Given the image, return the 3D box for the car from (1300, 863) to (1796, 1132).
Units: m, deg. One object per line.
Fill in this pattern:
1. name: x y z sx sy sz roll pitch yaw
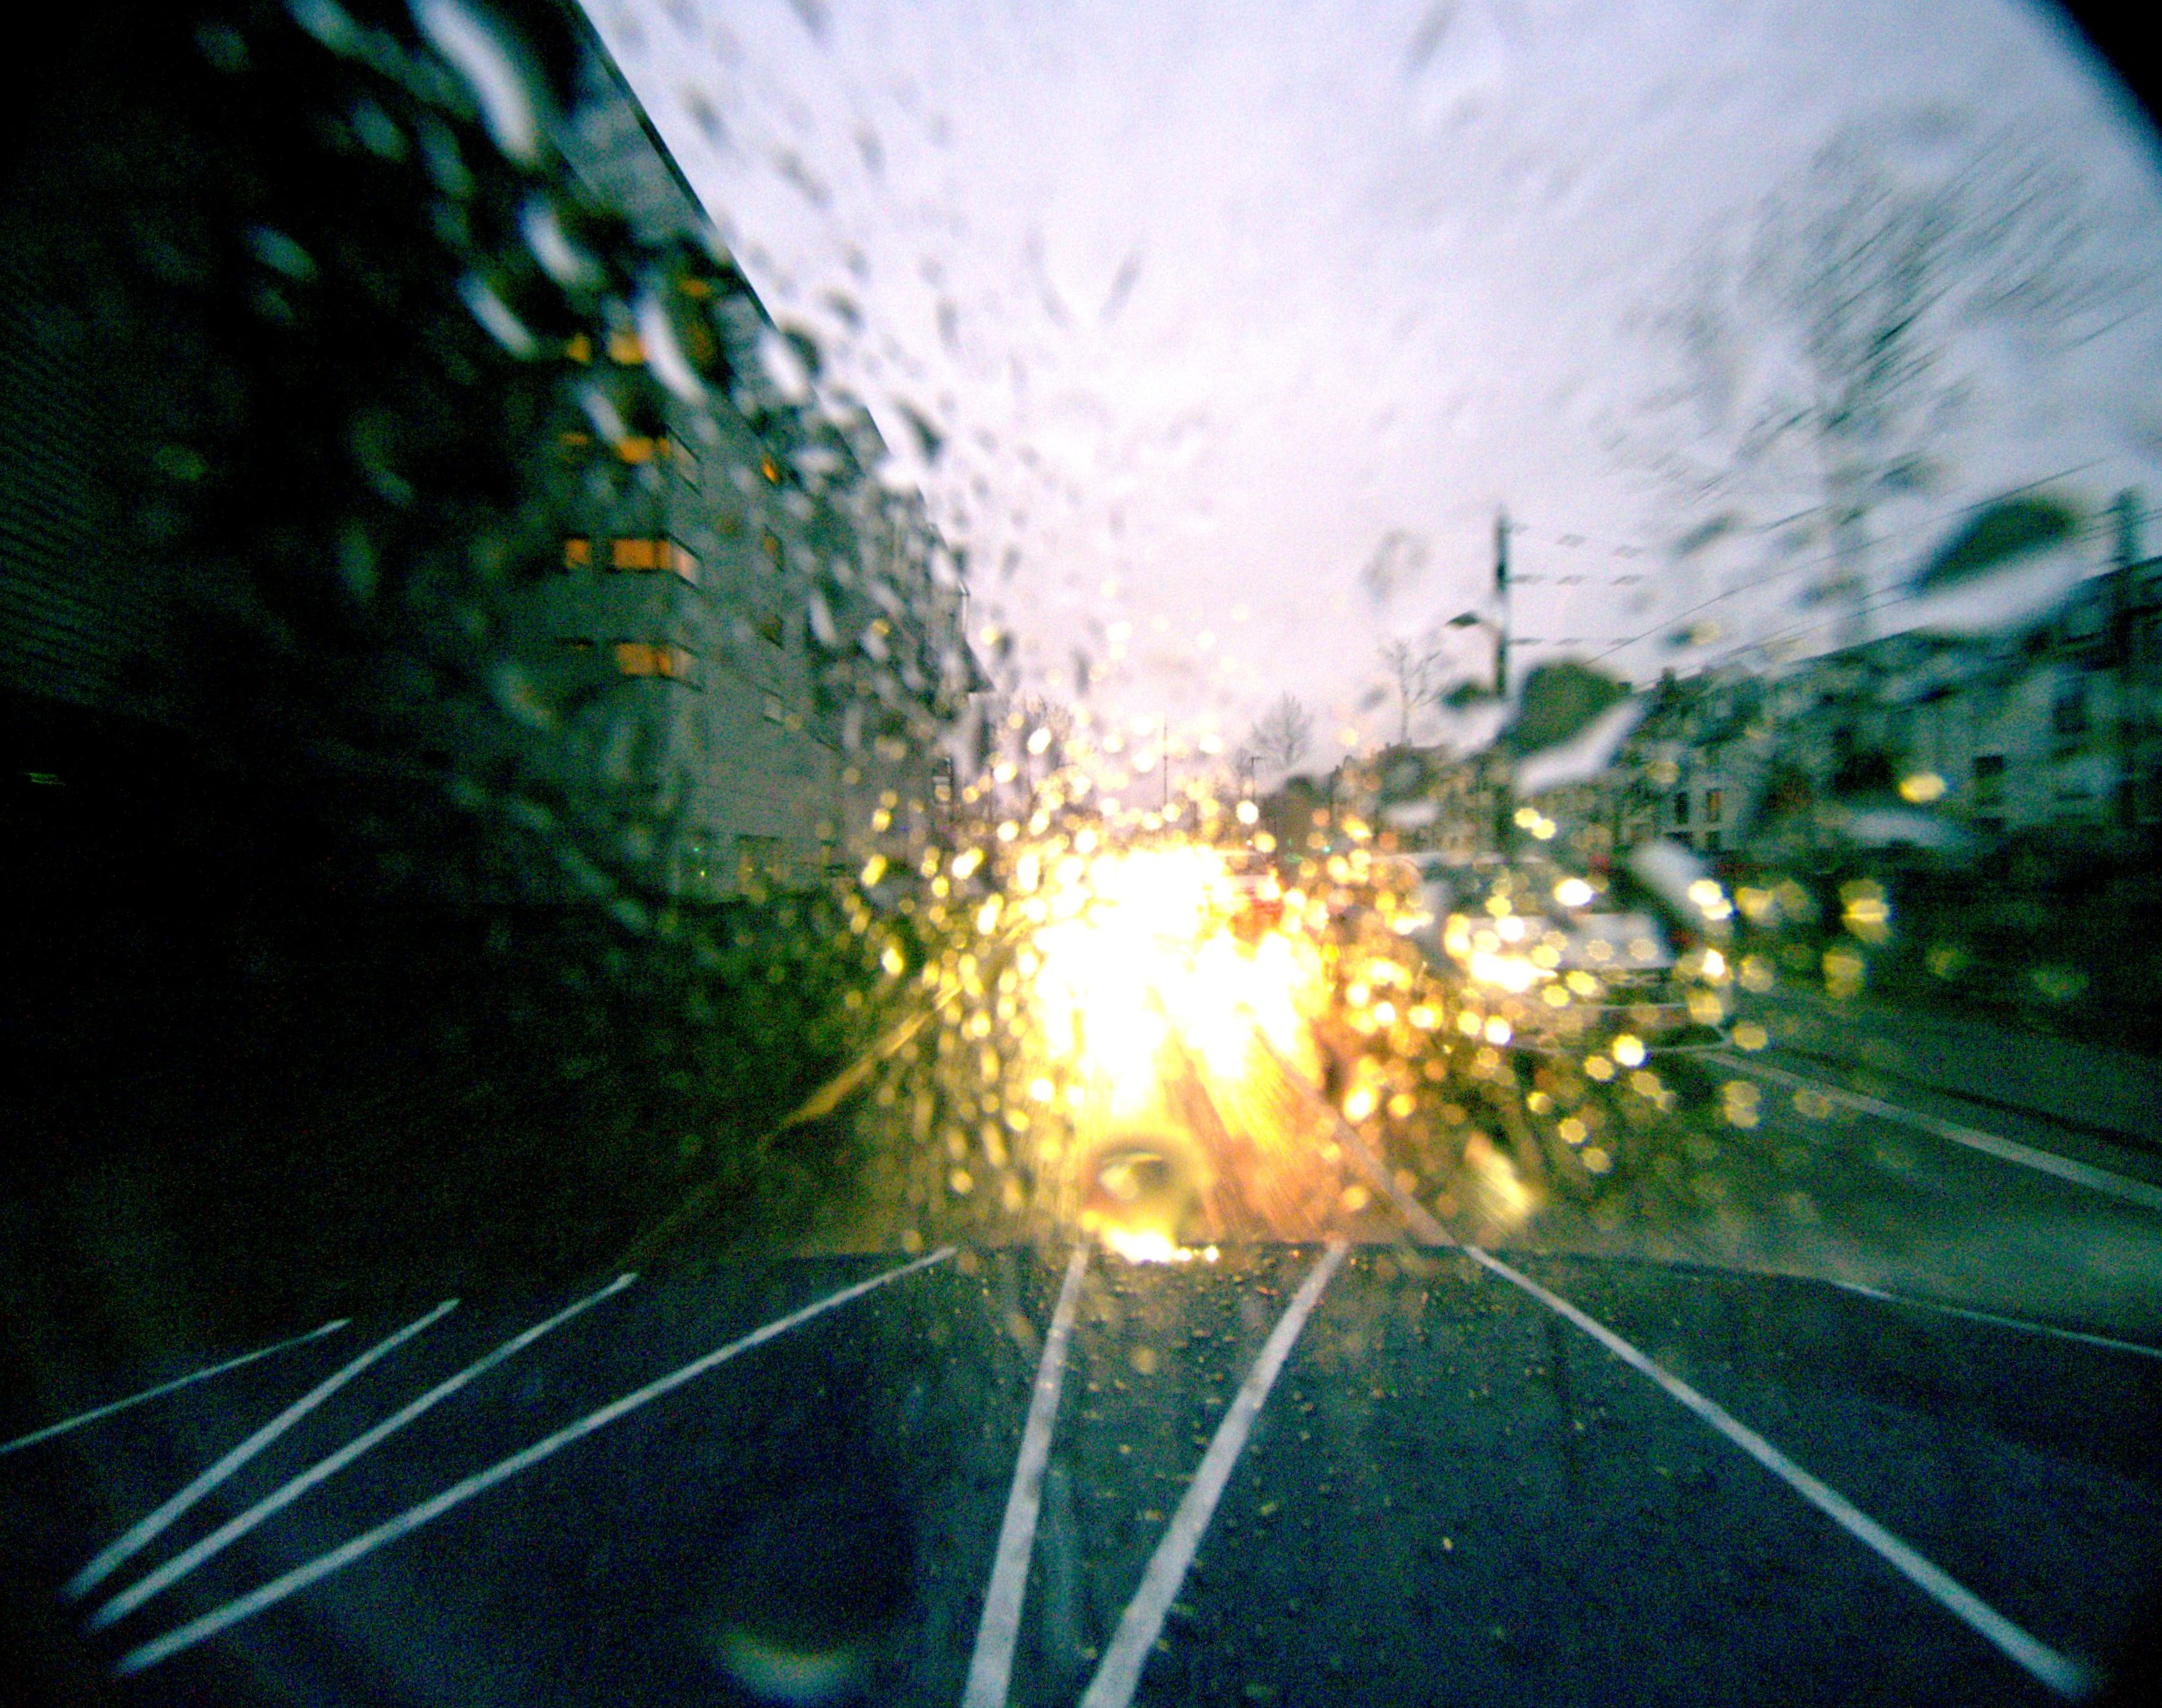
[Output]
1. car: 3.317 0.864 6.449 1.693 1.465 4.001 -2 0 0

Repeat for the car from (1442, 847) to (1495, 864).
1. car: 32.617 0.162 63.959 3.834 1.238 1.741 -3 0 32

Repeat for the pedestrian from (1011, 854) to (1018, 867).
1. pedestrian: -8.635 0.886 99.020 0.673 1.615 0.615 -2 1 17

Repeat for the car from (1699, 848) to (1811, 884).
1. car: 32.934 0.600 37.265 3.839 1.579 1.745 -2 0 33

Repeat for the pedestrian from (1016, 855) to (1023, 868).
1. pedestrian: -8.720 1.052 107.414 0.673 1.767 0.615 -2 1 15

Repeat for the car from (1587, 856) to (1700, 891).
1. car: 26.797 0.897 36.435 1.885 1.494 4.790 -2 0 1

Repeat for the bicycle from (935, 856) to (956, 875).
1. bicycle: -9.747 0.797 54.591 0.411 1.277 1.747 -2 0 29

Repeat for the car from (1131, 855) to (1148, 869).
1. car: 7.813 1.070 101.760 1.828 1.707 3.750 -2 0 0

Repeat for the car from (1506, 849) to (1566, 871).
1. car: 32.376 0.442 54.110 3.376 1.413 1.673 -2 0 40

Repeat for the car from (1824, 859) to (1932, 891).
1. car: 31.952 0.848 30.565 2.880 1.196 1.391 -2 0 43

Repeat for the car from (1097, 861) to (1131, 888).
1. car: 1.788 1.103 41.847 1.736 1.311 3.804 -2 0 1

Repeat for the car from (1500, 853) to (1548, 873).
1. car: 33.244 0.676 57.049 2.929 1.328 1.741 -3 0 34

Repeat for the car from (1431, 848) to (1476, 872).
1. car: 27.175 0.423 55.594 1.617 1.613 3.509 -2 0 2

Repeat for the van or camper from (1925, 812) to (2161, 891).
1. van or camper: 32.358 -0.085 24.294 6.863 2.346 2.004 -2 0 35

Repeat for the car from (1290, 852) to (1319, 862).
1. car: 34.723 0.406 118.172 4.034 1.223 1.351 -4 1 38

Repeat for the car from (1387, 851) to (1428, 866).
1. car: 33.019 0.470 76.798 3.571 1.301 1.689 -3 0 32

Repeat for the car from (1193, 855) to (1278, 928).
1. car: 3.640 0.819 18.480 1.637 1.510 3.909 -2 0 6

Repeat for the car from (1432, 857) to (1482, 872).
1. car: 33.049 0.938 66.850 3.812 1.165 1.741 -3 0 29

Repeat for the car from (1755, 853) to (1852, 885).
1. car: 32.281 0.679 34.024 3.088 1.295 1.391 -2 0 43

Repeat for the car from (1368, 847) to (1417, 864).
1. car: 33.879 0.161 82.707 4.646 1.713 1.837 -3 0 36

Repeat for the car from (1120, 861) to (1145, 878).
1. car: 4.621 1.380 68.604 1.849 1.478 3.551 -2 0 -1

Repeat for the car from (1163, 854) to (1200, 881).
1. car: 5.978 0.769 45.512 1.905 1.475 3.656 -2 0 4

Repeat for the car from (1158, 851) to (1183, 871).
1. car: 7.182 0.529 61.248 1.689 1.478 3.436 -2 0 2

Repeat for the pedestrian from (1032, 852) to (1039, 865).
1. pedestrian: -6.033 0.604 100.758 0.673 1.603 0.615 -2 0 15

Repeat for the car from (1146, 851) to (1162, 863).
1. car: 7.945 0.330 83.109 1.523 1.309 3.436 -2 0 2

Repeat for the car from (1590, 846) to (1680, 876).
1. car: 32.088 0.416 44.081 4.151 1.532 1.673 -2 0 38

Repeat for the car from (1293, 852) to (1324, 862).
1. car: 34.535 0.501 115.260 4.095 1.154 1.715 -4 1 41

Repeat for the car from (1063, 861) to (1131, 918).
1. car: 0.445 0.921 21.188 1.669 1.325 3.787 -2 0 1

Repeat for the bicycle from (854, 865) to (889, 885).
1. bicycle: -11.371 1.129 41.311 1.813 1.045 0.397 0 1 0
